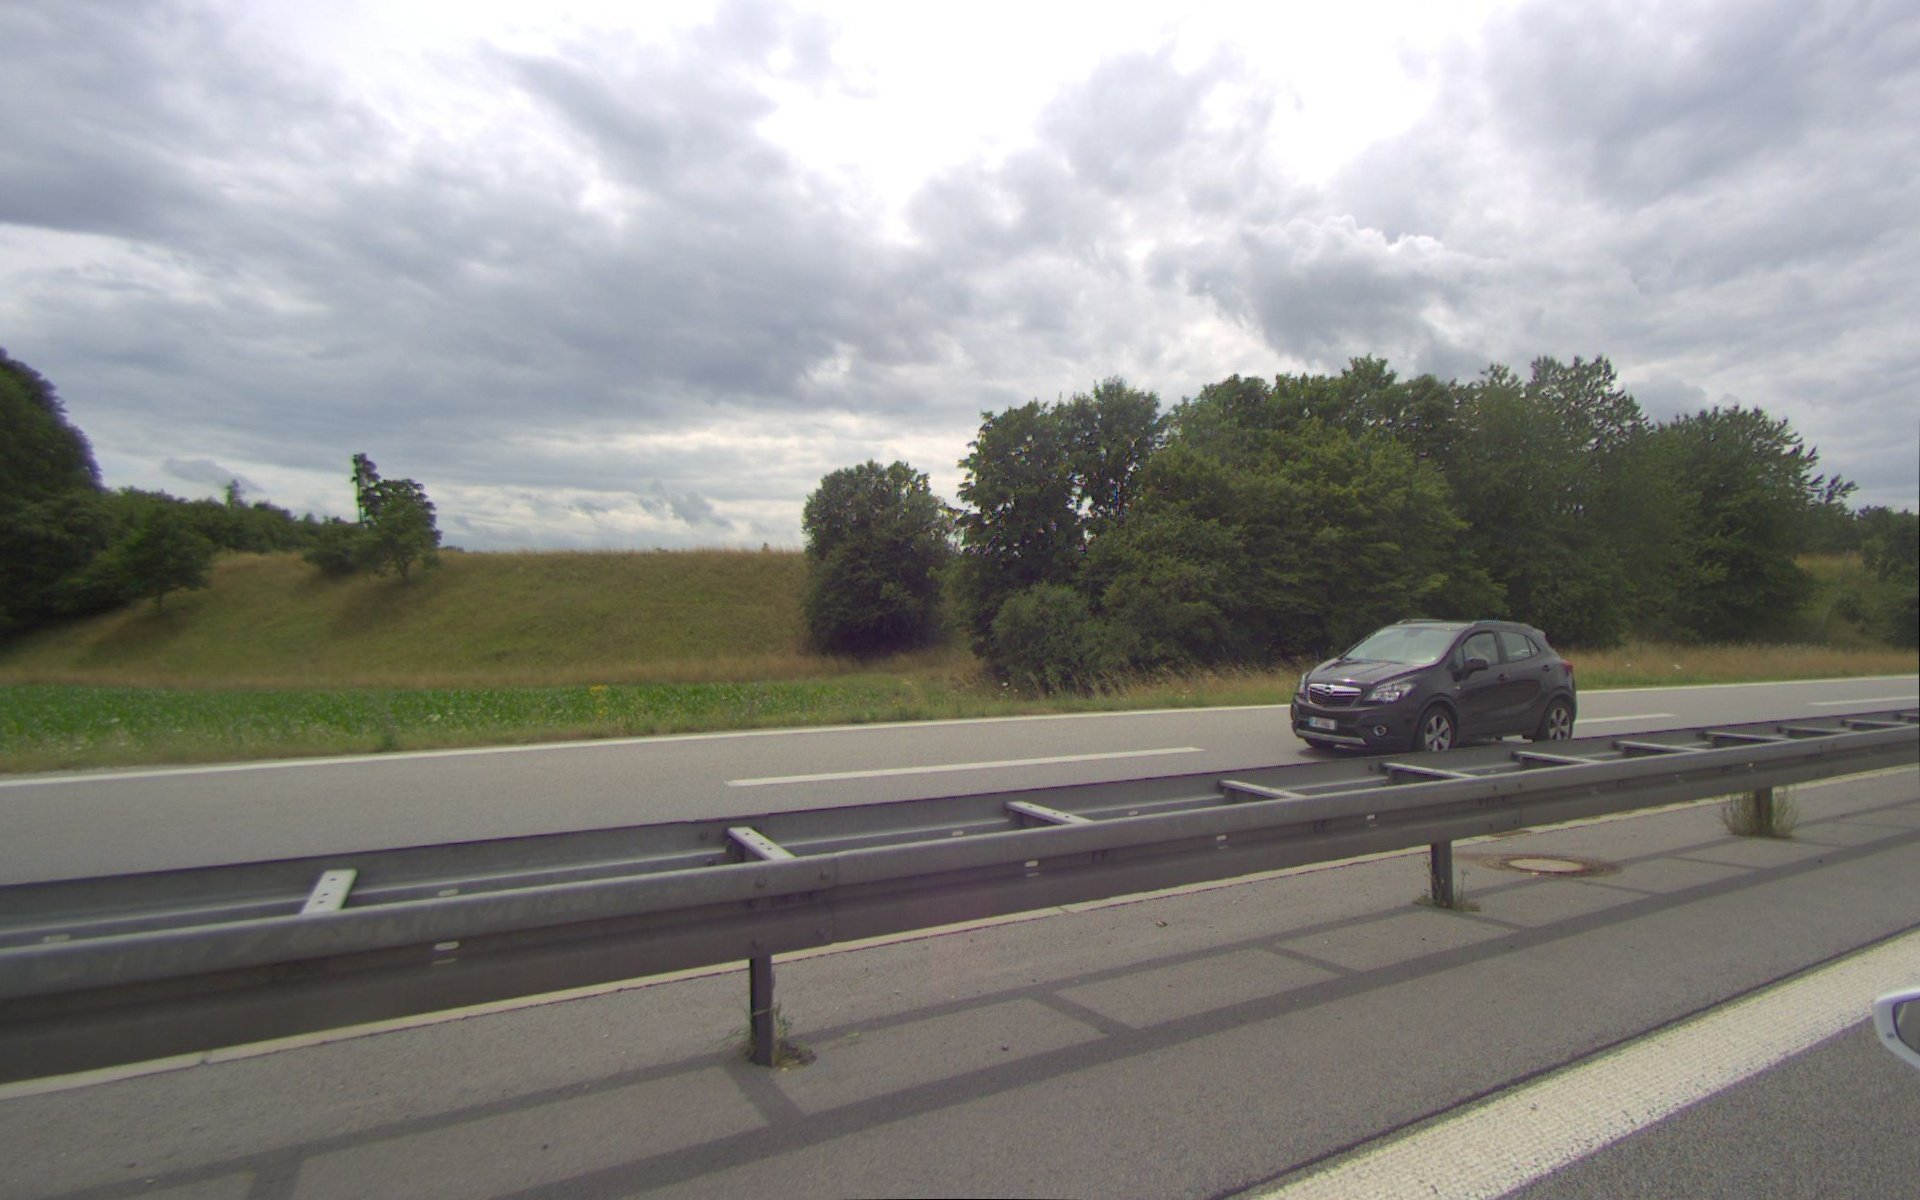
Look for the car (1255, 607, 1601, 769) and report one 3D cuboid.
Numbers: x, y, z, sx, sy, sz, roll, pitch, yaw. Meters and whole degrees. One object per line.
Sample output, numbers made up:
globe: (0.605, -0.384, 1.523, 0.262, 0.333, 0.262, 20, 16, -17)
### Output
car: (6.014, 1.028, 12.834, 4.185, 1.706, 1.983, 2, 0, -31)
